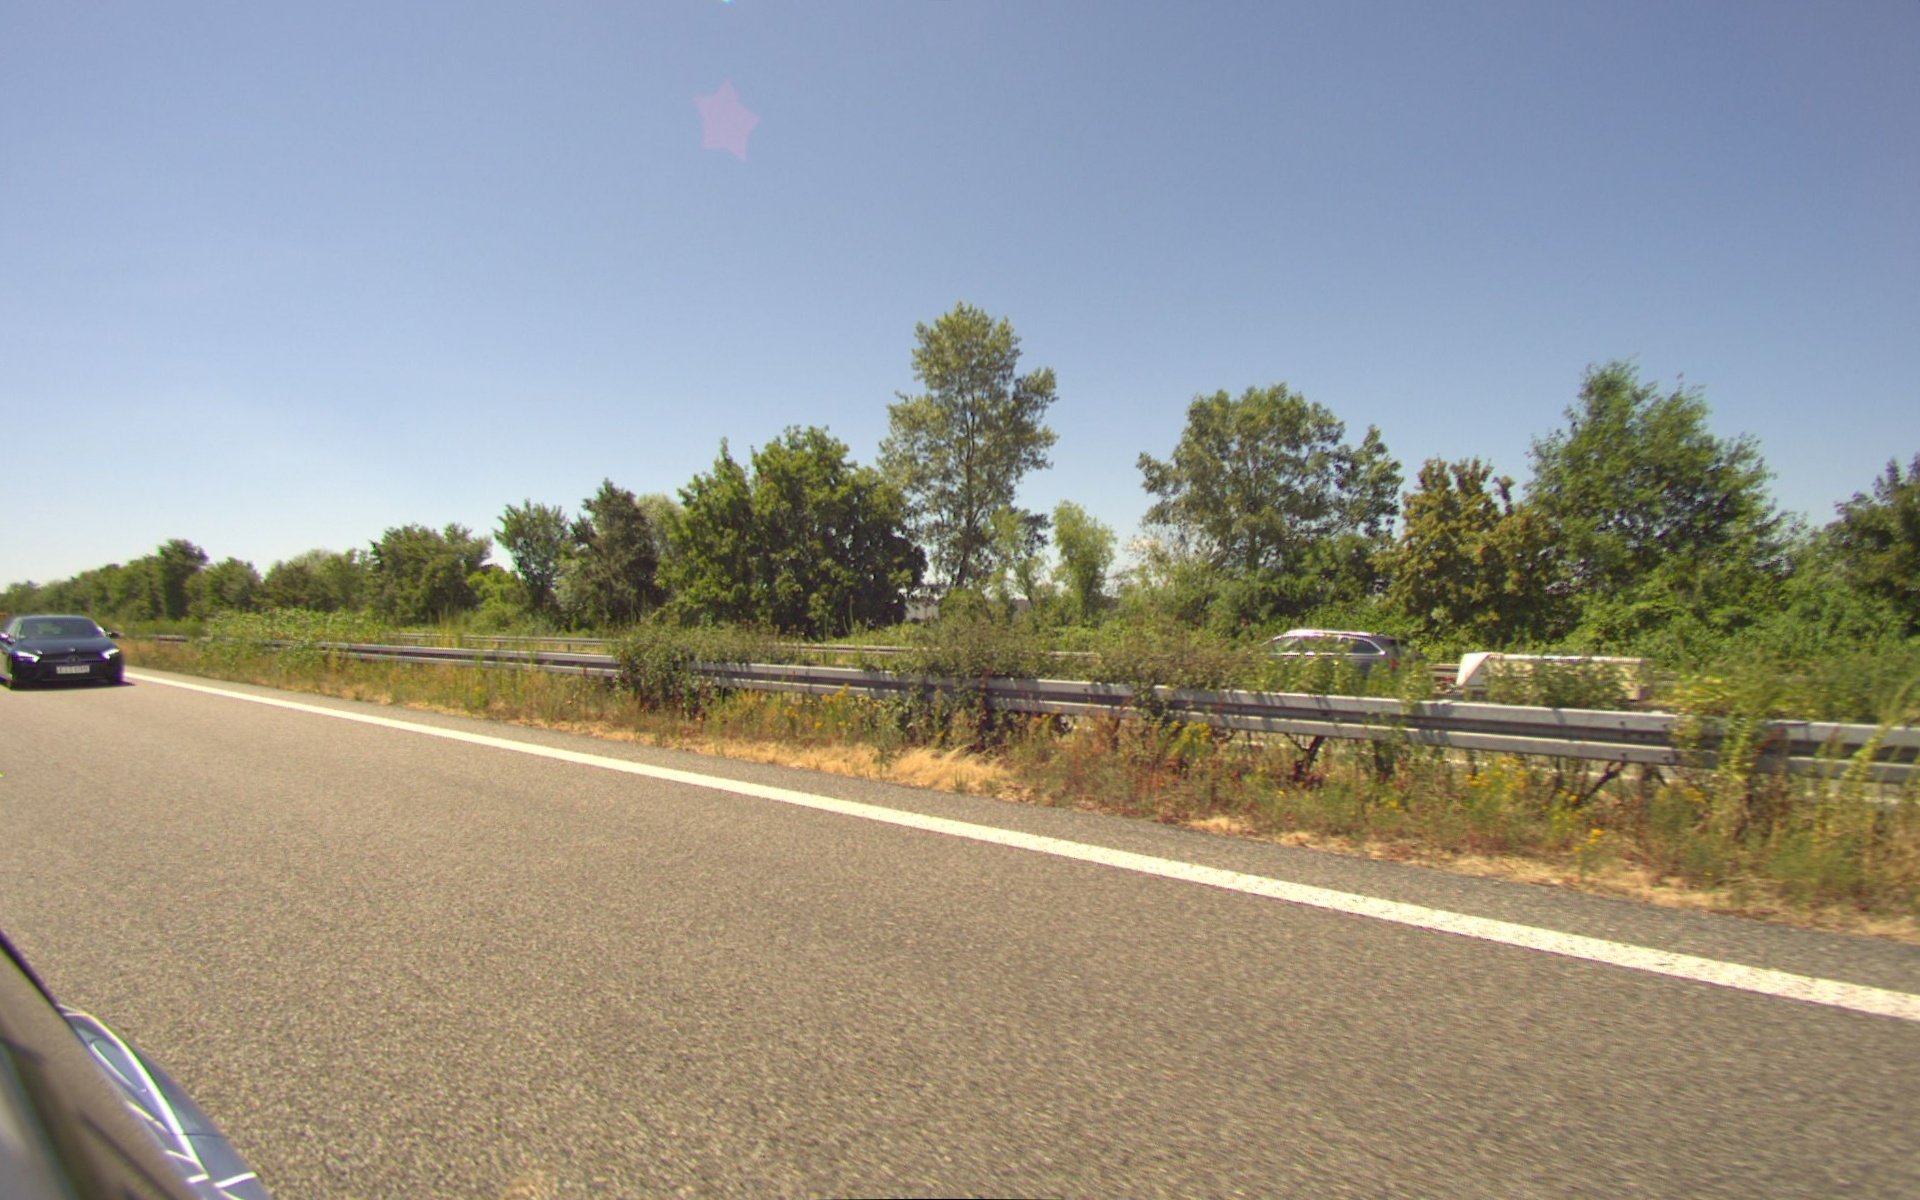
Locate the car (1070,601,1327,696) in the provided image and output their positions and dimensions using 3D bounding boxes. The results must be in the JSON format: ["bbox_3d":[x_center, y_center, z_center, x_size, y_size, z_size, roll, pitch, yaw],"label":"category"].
[{"bbox_3d":[5.199,1.009,22.497,5.026,1.887,2.428,-1,-2,41],"label":"car"}]

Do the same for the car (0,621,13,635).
[{"bbox_3d":[-163.305,4.768,172.390,4.950,2.455,2.160,-1,-2,39],"label":"car"}]

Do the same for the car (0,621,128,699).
[{"bbox_3d":[-18.868,1.177,21.064,4.051,1.422,1.773,-1,-1,41],"label":"car"}]

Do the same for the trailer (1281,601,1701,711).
[{"bbox_3d":[9.551,0.931,18.680,6.487,1.697,2.463,-1,-2,41],"label":"trailer"}]
